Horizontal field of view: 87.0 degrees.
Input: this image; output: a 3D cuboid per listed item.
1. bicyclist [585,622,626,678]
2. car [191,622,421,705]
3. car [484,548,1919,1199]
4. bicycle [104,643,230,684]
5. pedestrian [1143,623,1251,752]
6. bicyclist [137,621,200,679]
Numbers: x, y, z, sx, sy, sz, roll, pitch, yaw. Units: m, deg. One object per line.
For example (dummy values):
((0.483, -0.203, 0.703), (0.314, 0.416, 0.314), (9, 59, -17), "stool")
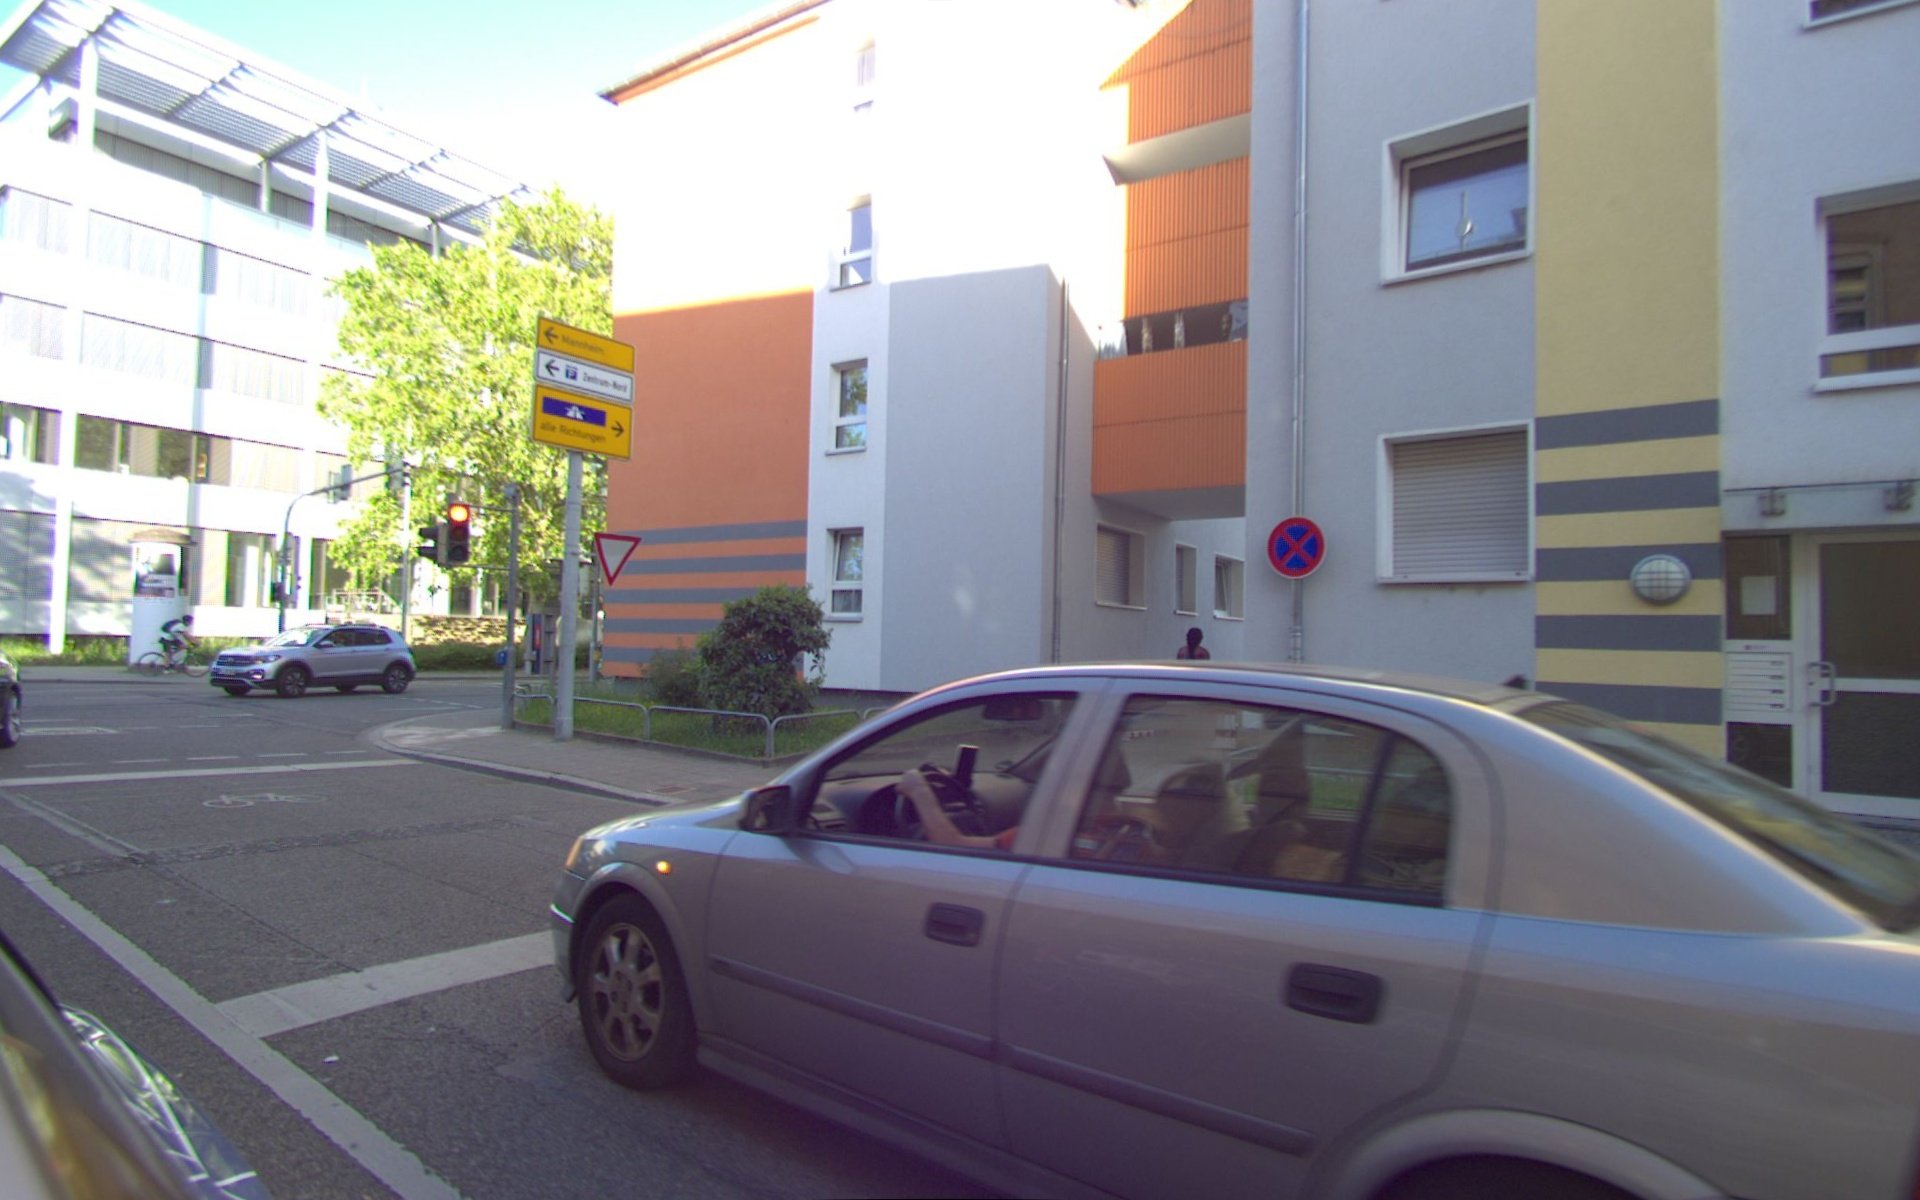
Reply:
((-11.290, 1.581, 32.250), (0.768, 1.746, 0.891), (0, -2, 32), "bicyclist")
((-14.158, 1.351, 22.190), (1.735, 1.616, 3.973), (0, -3, 20), "car")
((0.468, 0.775, 2.976), (4.133, 1.497, 1.723), (-1, -5, 40), "car")
((-22.465, 1.802, 28.755), (2.614, 1.060, 0.985), (4, -4, -26), "bicycle")
((3.084, 1.102, 13.152), (1.077, 1.584, 1.003), (-1, -3, 35), "pedestrian")
((-22.486, 1.423, 28.774), (1.106, 1.557, 0.956), (4, -4, -26), "bicyclist")
